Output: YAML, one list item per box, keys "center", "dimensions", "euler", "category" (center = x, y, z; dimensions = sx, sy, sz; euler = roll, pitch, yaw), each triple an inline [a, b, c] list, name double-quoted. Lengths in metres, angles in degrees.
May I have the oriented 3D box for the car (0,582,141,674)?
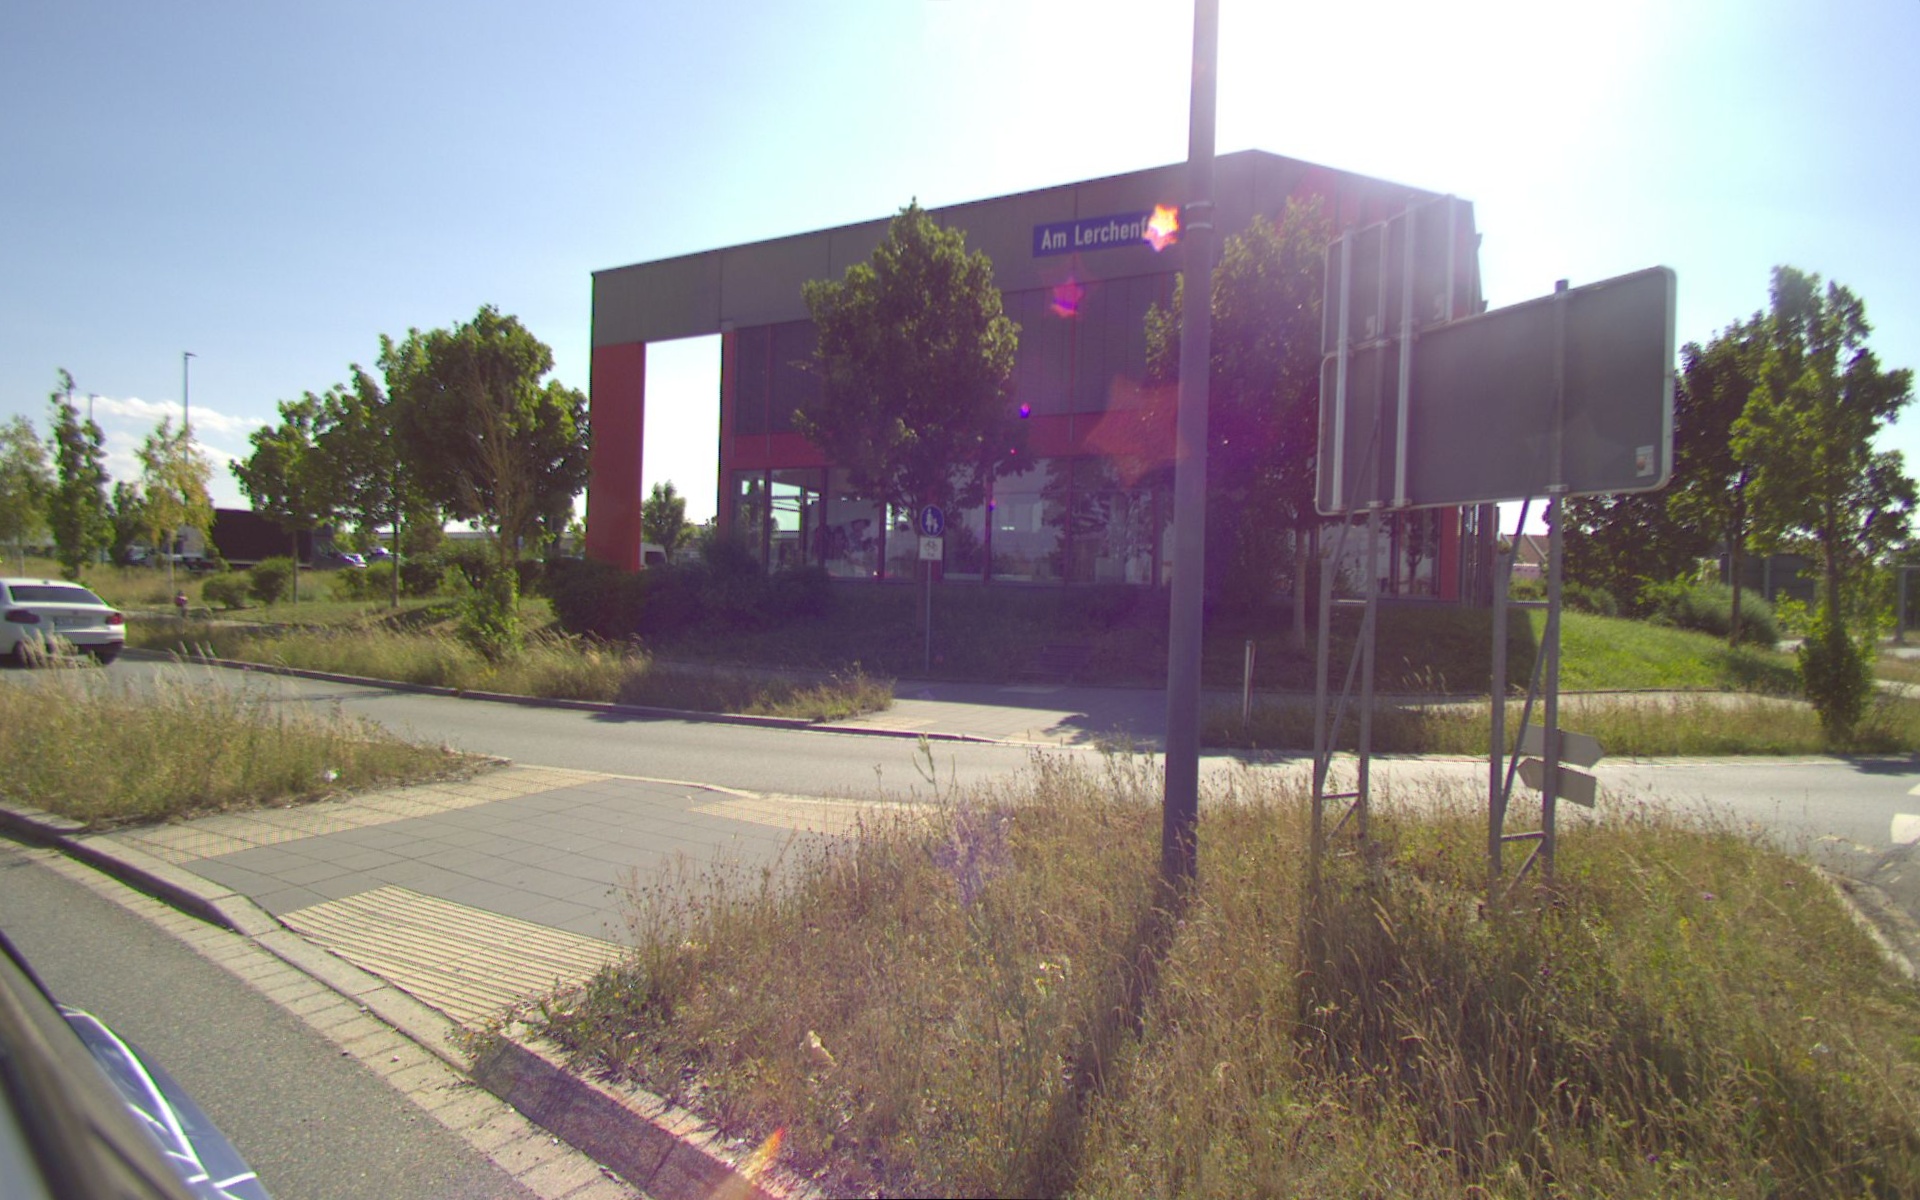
- center: [-16.449, 0.422, 17.653]
  dimensions: [4.362, 1.426, 1.780]
  euler: [1, -1, 28]
  category: "car"
